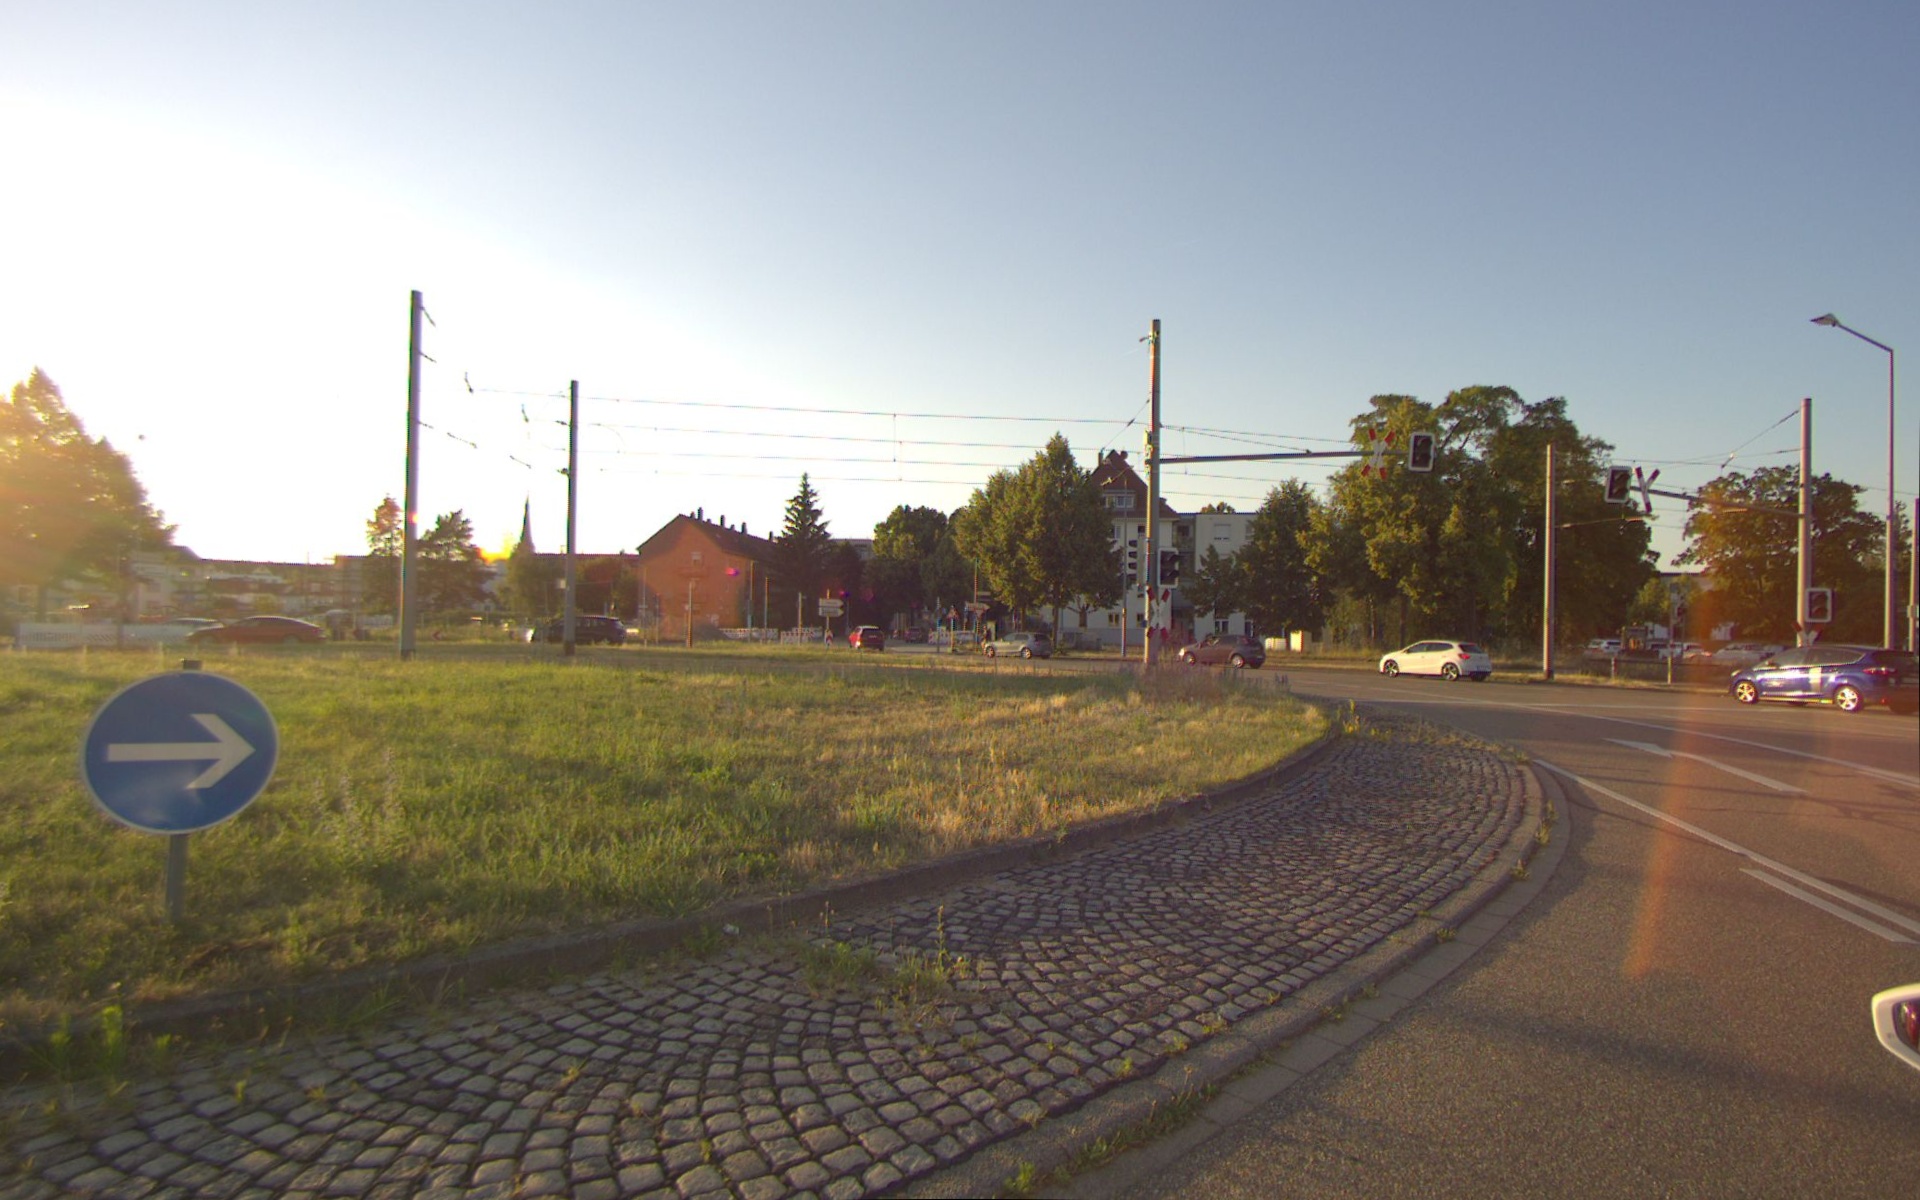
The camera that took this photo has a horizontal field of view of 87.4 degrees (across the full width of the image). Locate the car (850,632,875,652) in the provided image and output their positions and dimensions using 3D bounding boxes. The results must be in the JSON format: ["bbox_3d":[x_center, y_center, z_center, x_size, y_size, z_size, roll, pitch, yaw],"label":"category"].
[{"bbox_3d":[-7.763,3.358,80.251,1.850,1.483,4.669,1,-1,-3],"label":"car"}]

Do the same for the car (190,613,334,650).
[{"bbox_3d":[-28.407,1.289,41.045,4.429,1.410,1.887,2,-1,-20],"label":"car"}]

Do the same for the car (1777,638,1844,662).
[{"bbox_3d":[64.306,3.776,76.031,1.960,1.625,4.002,1,-1,5],"label":"car"}]

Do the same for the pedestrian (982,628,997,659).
[{"bbox_3d":[1.836,2.727,63.298,0.614,1.918,0.663,2,0,-33],"label":"pedestrian"}]

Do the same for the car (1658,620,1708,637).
[{"bbox_3d":[88.244,3.499,122.683,4.505,2.040,2.001,1,-1,7],"label":"car"}]

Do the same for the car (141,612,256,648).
[{"bbox_3d":[-36.437,1.448,48.204,3.942,1.643,1.989,1,-1,-22],"label":"car"}]

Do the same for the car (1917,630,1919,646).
[{"bbox_3d":[109.638,4.287,111.875,3.919,1.840,2.001,1,-1,8],"label":"car"}]

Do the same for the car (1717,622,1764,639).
[{"bbox_3d":[94.846,3.715,122.049,4.033,2.040,2.001,1,-1,6],"label":"car"}]

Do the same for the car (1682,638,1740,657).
[{"bbox_3d":[70.146,4.404,93.828,3.919,1.684,1.904,1,-1,7],"label":"car"}]

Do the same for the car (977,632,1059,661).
[{"bbox_3d":[3.101,2.459,53.887,4.099,1.408,1.860,0,-1,39],"label":"car"}]

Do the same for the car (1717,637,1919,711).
[{"bbox_3d":[21.795,1.801,25.331,1.881,1.604,4.174,1,-1,-9],"label":"car"}]

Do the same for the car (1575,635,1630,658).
[{"bbox_3d":[49.766,3.574,77.878,1.960,1.625,4.002,1,-1,5],"label":"car"}]

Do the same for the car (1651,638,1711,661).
[{"bbox_3d":[55.071,3.742,76.785,1.960,1.625,4.002,1,-1,5],"label":"car"}]

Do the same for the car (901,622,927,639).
[{"bbox_3d":[-4.753,3.213,104.883,1.959,1.659,4.528,0,0,8],"label":"car"}]

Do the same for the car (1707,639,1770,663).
[{"bbox_3d":[59.851,3.900,77.307,1.960,1.625,4.002,1,-1,5],"label":"car"}]

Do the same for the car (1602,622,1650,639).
[{"bbox_3d":[81.638,3.756,123.116,4.506,2.040,2.001,1,-1,2],"label":"car"}]

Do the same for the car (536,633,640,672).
[{"bbox_3d":[-16.394,2.292,44.461,3.924,1.605,1.894,1,-1,-5],"label":"car"}]

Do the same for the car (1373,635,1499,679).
[{"bbox_3d":[17.679,2.093,37.485,1.844,1.473,3.943,1,-1,-28],"label":"car"}]

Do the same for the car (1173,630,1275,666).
[{"bbox_3d":[11.840,2.114,45.208,1.854,1.473,4.111,2,-1,-42],"label":"car"}]

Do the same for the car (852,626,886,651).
[{"bbox_3d":[-6.222,2.610,68.257,1.964,1.594,4.408,1,-1,-10],"label":"car"}]
